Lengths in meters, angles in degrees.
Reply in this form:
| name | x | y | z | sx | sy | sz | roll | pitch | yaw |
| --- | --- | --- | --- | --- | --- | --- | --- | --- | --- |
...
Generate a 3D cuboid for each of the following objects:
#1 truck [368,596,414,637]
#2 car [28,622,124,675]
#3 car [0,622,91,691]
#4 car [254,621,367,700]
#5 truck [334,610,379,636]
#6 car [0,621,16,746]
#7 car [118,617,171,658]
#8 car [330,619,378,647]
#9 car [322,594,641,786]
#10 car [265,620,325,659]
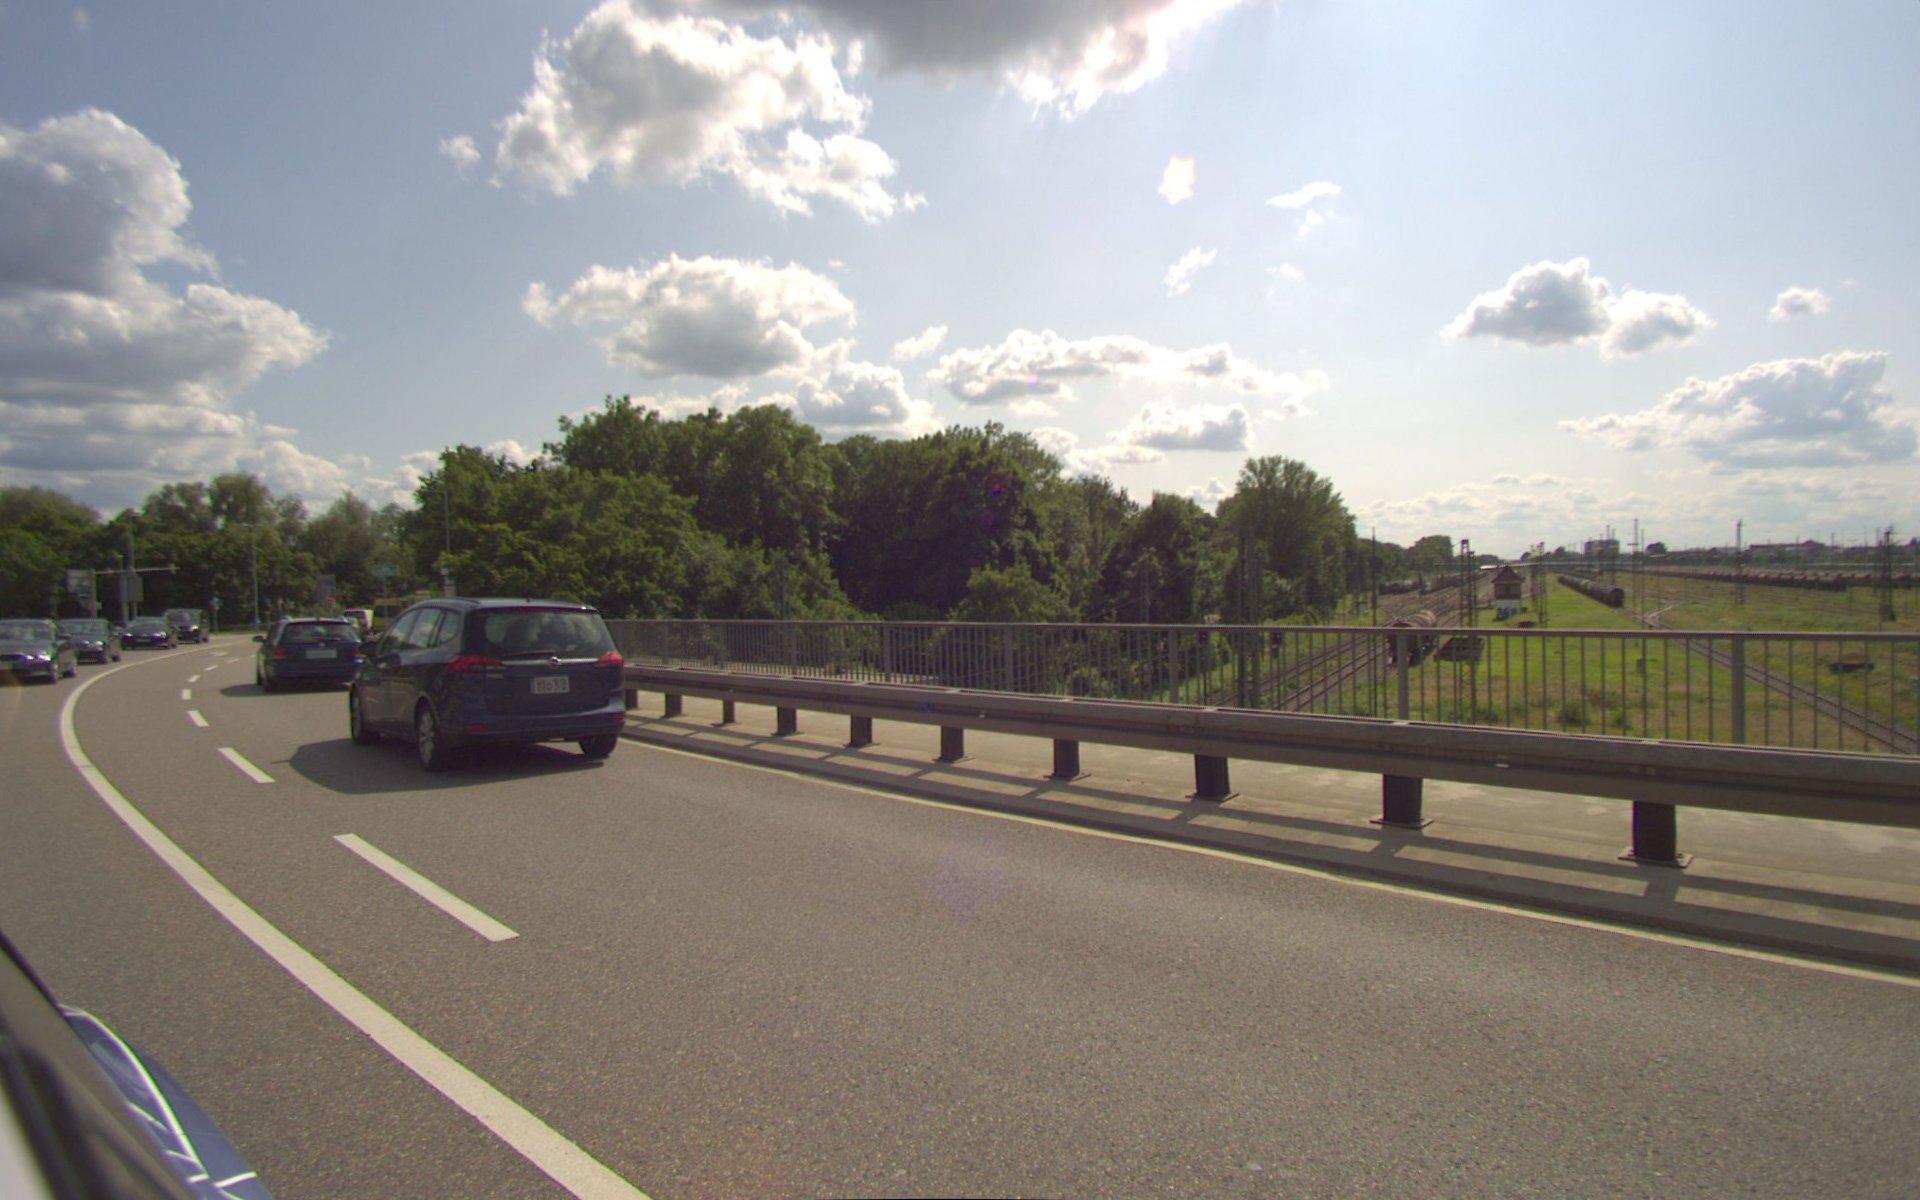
| name | x | y | z | sx | sy | sz | roll | pitch | yaw |
| --- | --- | --- | --- | --- | --- | --- | --- | --- | --- |
| truck | -39.265 | 1.170 | 70.016 | 1.965 | 2.641 | 6.123 | 1 | -2 | -22 |
| car | -28.450 | 1.500 | 32.720 | 1.793 | 1.347 | 4.741 | -3 | 3 | -35 |
| car | -21.474 | 1.235 | 23.115 | 1.828 | 1.373 | 4.012 | 1 | 0 | -31 |
| car | -13.582 | 1.172 | 21.060 | 1.637 | 1.465 | 4.336 | 1 | -1 | -37 |
| truck | -45.800 | 1.740 | 76.945 | 1.933 | 1.927 | 5.387 | 0 | -1 | -20 |
| car | -11.209 | 0.944 | 10.428 | 1.767 | 1.446 | 4.378 | 2 | -2 | -38 |
| car | -36.544 | 1.644 | 45.430 | 1.612 | 1.524 | 3.729 | -3 | 4 | -36 |
| car | -33.135 | 1.774 | 55.441 | 1.723 | 1.460 | 4.351 | 0 | -1 | -24 |
| car | -5.284 | 0.800 | 10.865 | 4.430 | 1.644 | 1.698 | -1 | -1 | 45 |
| car | -26.509 | 1.531 | 40.448 | 1.769 | 1.385 | 4.594 | 0 | -1 | -31 |
